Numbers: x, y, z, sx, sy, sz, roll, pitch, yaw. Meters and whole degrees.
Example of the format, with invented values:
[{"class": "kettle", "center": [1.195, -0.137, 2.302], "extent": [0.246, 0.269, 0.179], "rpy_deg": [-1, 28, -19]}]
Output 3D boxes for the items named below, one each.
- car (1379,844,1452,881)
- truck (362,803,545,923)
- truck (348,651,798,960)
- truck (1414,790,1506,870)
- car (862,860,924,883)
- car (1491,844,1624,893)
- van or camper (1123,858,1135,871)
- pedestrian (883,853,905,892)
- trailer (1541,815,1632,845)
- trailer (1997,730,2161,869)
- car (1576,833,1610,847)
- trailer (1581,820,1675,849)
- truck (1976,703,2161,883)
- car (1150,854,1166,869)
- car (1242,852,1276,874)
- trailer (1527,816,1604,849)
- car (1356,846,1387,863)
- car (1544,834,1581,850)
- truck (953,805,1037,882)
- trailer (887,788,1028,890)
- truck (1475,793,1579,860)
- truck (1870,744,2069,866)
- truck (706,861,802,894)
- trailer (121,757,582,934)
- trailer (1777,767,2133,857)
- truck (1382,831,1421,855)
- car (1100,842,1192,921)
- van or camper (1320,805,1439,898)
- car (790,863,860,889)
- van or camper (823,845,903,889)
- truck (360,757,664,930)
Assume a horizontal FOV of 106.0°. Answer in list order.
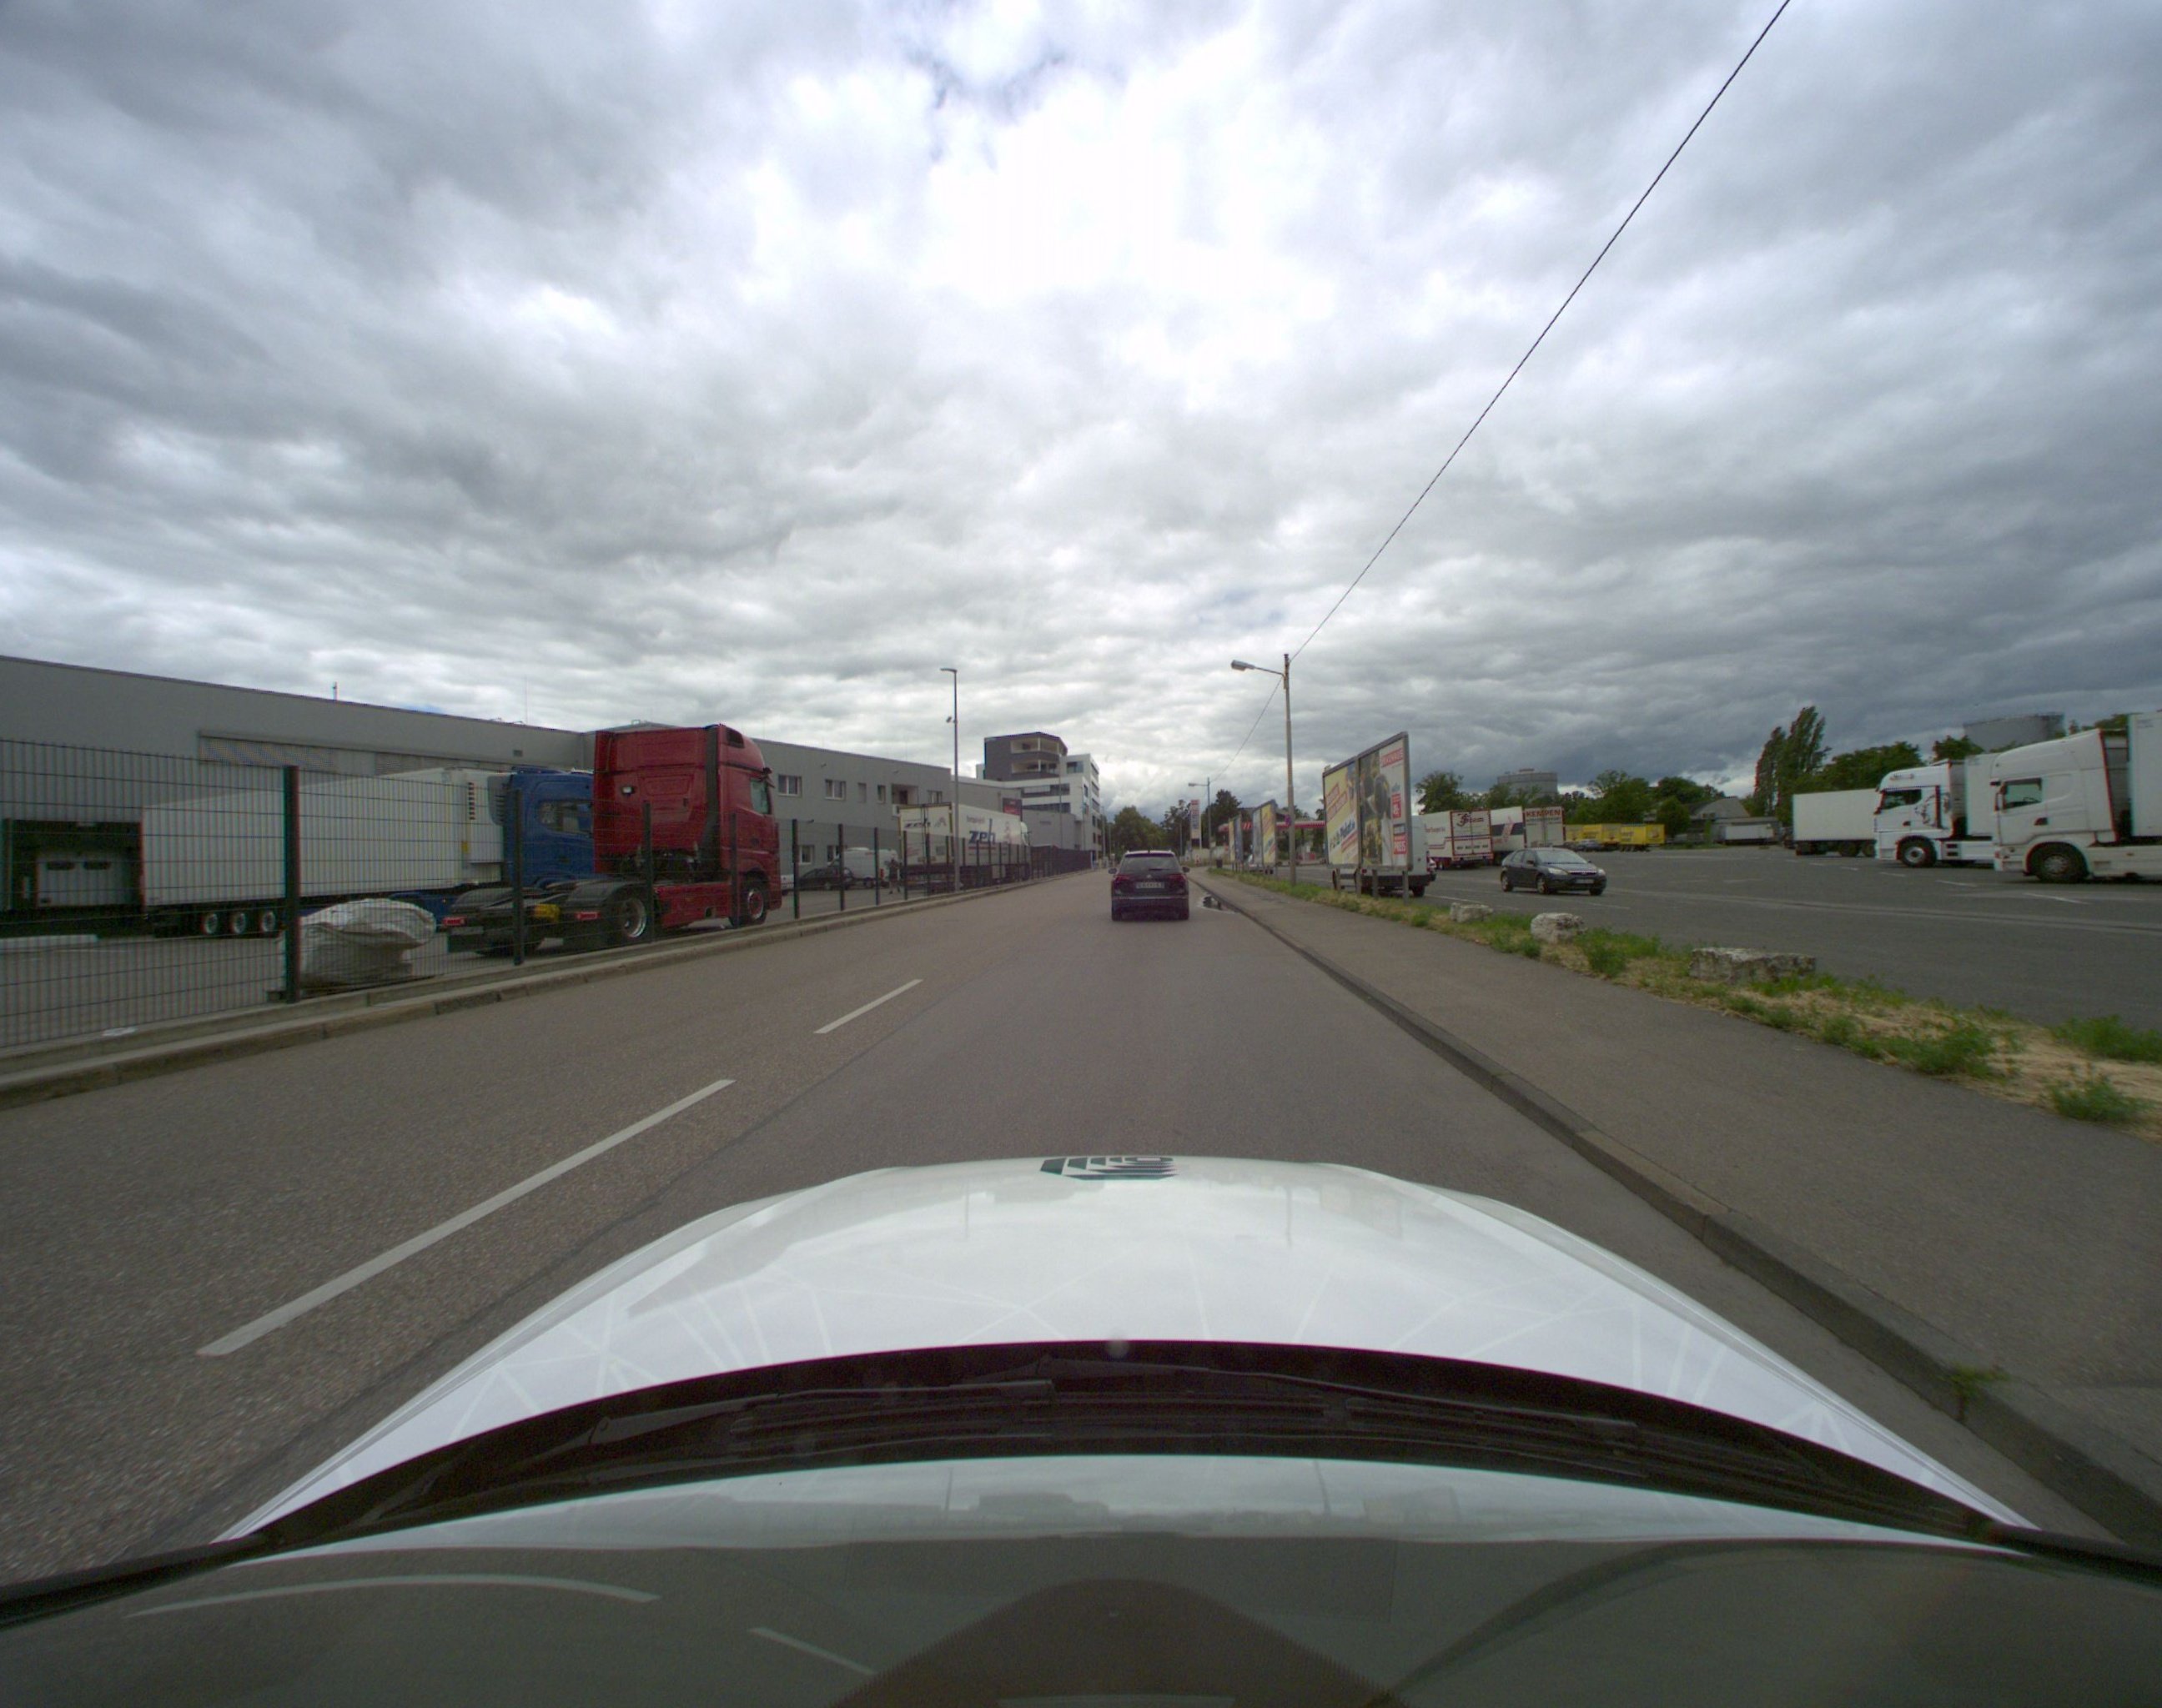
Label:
[{"class": "car", "center": [15.921, 0.390, 39.029], "extent": [1.881, 1.612, 4.432], "rpy_deg": [-1, -1, 3]}, {"class": "truck", "center": [-22.539, 0.369, 29.242], "extent": [5.851, 3.928, 2.819], "rpy_deg": [-2, 0, 26]}, {"class": "truck", "center": [-8.008, -0.610, 14.284], "extent": [2.907, 4.020, 6.954], "rpy_deg": [-2, -1, 6]}, {"class": "truck", "center": [26.377, -1.593, 57.246], "extent": [3.289, 5.093, 8.531], "rpy_deg": [-2, 0, 7]}, {"class": "car", "center": [-13.641, 1.277, 59.185], "extent": [3.951, 1.552, 2.011], "rpy_deg": [-2, -1, 24]}, {"class": "car", "center": [15.057, 0.432, 26.025], "extent": [1.881, 1.445, 4.432], "rpy_deg": [0, 0, 3]}, {"class": "van or camper", "center": [8.816, 1.875, 149.279], "extent": [1.984, 2.256, 4.006], "rpy_deg": [-2, 0, 5]}, {"class": "pedestrian", "center": [-8.905, 0.876, 38.856], "extent": [0.693, 1.829, 0.826], "rpy_deg": [-2, -1, 9]}, {"class": "trailer", "center": [72.139, -3.308, 117.059], "extent": [3.579, 3.863, 18.060], "rpy_deg": [-2, 1, 6]}, {"class": "trailer", "center": [34.140, -1.694, 24.270], "extent": [2.760, 4.190, 8.906], "rpy_deg": [-2, 1, -11]}, {"class": "car", "center": [64.248, -1.724, 102.246], "extent": [1.984, 1.618, 4.006], "rpy_deg": [-2, 0, 6]}, {"class": "trailer", "center": [81.219, -2.816, 121.654], "extent": [3.579, 3.863, 18.060], "rpy_deg": [-2, 1, 6]}, {"class": "truck", "center": [26.477, -1.473, 20.784], "extent": [2.697, 4.212, 4.067], "rpy_deg": [-2, 0, -7]}, {"class": "car", "center": [9.926, 0.905, 104.829], "extent": [1.984, 1.749, 4.005], "rpy_deg": [-2, 1, 4]}, {"class": "car", "center": [12.662, 0.631, 58.020], "extent": [1.880, 1.445, 4.435], "rpy_deg": [0, 0, 6]}, {"class": "trailer", "center": [67.400, -2.899, 113.896], "extent": [2.856, 4.150, 14.943], "rpy_deg": [-2, 1, 4]}, {"class": "car", "center": [31.197, 0.035, 87.592], "extent": [1.985, 1.706, 4.003], "rpy_deg": [-2, 0, 3]}, {"class": "car", "center": [53.692, -1.296, 90.851], "extent": [1.984, 1.618, 4.006], "rpy_deg": [-2, 0, 6]}, {"class": "truck", "center": [-5.077, -0.565, 49.836], "extent": [3.110, 4.117, 6.958], "rpy_deg": [-6, -1, 8]}, {"class": "trailer", "center": [-6.008, -0.623, 43.409], "extent": [3.116, 4.261, 14.050], "rpy_deg": [-6, -1, 8]}, {"class": "truck", "center": [30.359, -1.756, 55.950], "extent": [3.289, 4.145, 8.532], "rpy_deg": [-2, 0, 8]}, {"class": "truck", "center": [32.970, -1.738, 30.413], "extent": [2.779, 4.215, 4.141], "rpy_deg": [-2, 0, -11]}, {"class": "truck", "center": [-18.361, 1.321, 45.733], "extent": [4.868, 1.652, 2.240], "rpy_deg": [-2, -1, 25]}, {"class": "trailer", "center": [-20.705, -0.001, 22.871], "extent": [13.860, 4.184, 3.051], "rpy_deg": [-2, -1, 18]}, {"class": "trailer", "center": [47.718, -2.064, 45.861], "extent": [3.099, 4.207, 14.372], "rpy_deg": [-2, 1, -9]}, {"class": "truck", "center": [44.487, -1.523, 113.372], "extent": [3.159, 3.145, 7.522], "rpy_deg": [-2, 1, 6]}, {"class": "car", "center": [1.652, 0.631, 20.206], "extent": [1.984, 1.684, 4.377], "rpy_deg": [-2, -1, 5]}, {"class": "van or camper", "center": [9.642, -0.059, 26.934], "extent": [2.244, 2.647, 6.125], "rpy_deg": [-2, 0, 6]}, {"class": "car", "center": [-16.574, 1.452, 52.832], "extent": [3.951, 1.552, 2.011], "rpy_deg": [-2, -1, 24]}, {"class": "van or camper", "center": [-14.710, 0.877, 54.984], "extent": [4.927, 2.762, 2.116], "rpy_deg": [-2, -1, 24]}, {"class": "truck", "center": [-14.330, -0.282, 21.009], "extent": [5.596, 4.020, 2.922], "rpy_deg": [-2, -1, -10]}]
